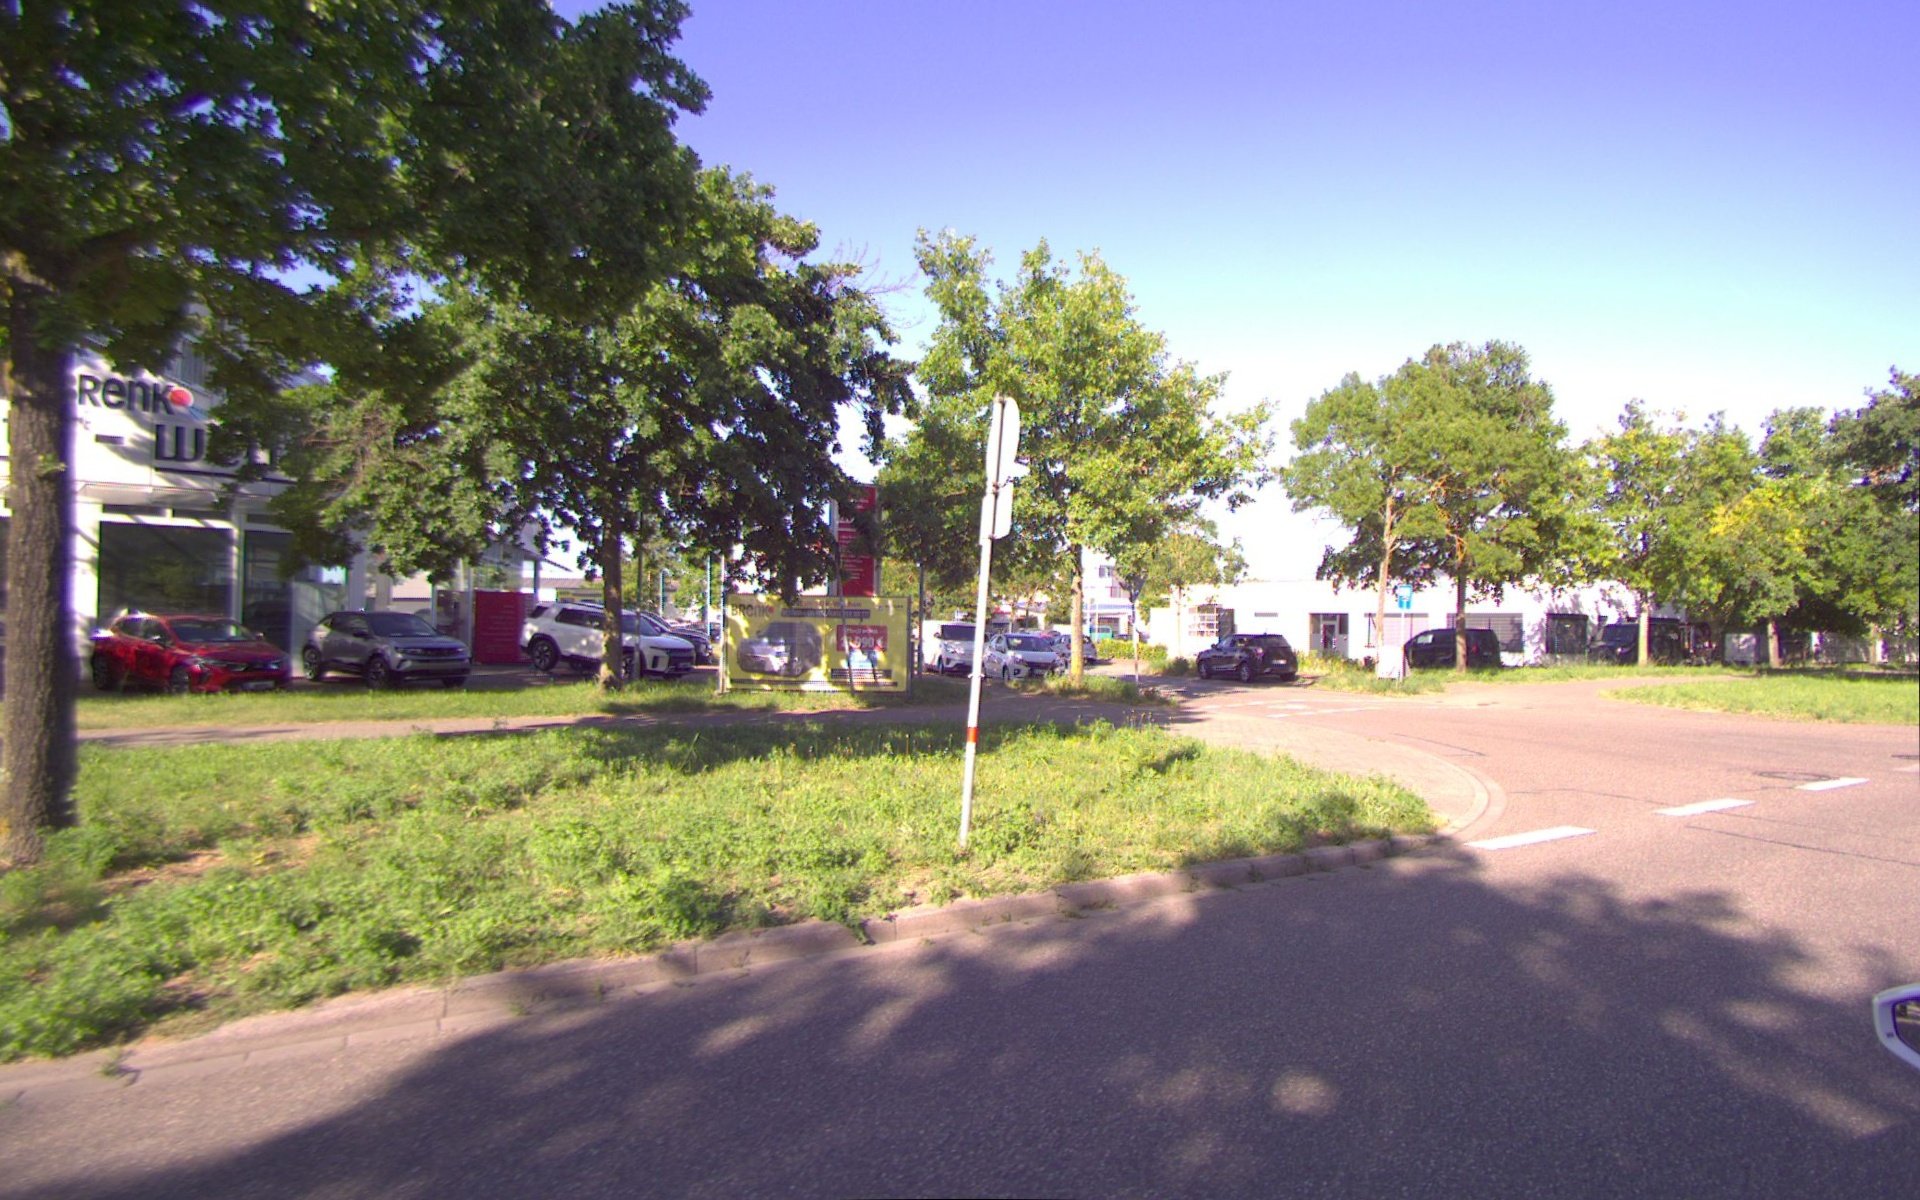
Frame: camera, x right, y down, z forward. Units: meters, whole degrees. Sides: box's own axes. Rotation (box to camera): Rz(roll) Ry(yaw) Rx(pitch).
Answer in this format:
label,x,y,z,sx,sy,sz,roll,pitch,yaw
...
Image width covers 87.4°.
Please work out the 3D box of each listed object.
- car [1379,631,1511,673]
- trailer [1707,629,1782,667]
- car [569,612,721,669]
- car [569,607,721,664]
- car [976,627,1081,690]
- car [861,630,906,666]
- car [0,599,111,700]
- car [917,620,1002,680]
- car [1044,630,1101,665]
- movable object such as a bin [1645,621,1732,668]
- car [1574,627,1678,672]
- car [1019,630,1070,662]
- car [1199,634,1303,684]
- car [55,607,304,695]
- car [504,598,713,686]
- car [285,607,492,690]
label,x,y,z,sx,sy,sz,roll,pitch,yaw
car,18.812,1.981,39.194,1.915,1.499,4.488,2,-2,-24
trailer,42.883,2.613,54.922,3.698,1.940,2.092,2,-1,-31
car,-9.231,1.189,29.514,4.106,1.591,1.992,1,-1,-19
car,-10.764,1.235,34.520,4.795,1.836,1.992,1,-1,-18
car,1.874,1.620,28.697,1.930,1.639,3.744,1,-1,-14
car,-3.711,2.266,48.011,1.769,1.531,3.993,0,-1,-10
car,-16.615,0.775,16.783,4.088,1.558,1.897,0,-1,20
car,-0.117,1.693,35.237,1.908,1.931,5.014,1,-2,-13
car,5.542,2.342,49.950,1.769,1.597,3.993,0,-1,-10
movable object such as a bin,37.008,2.245,51.012,4.410,2.246,2.092,2,-1,-31
car,31.715,2.323,47.771,5.744,2.015,2.024,2,-2,-33
car,4.507,2.448,54.196,1.769,1.531,3.993,0,-1,-10
car,9.854,1.978,34.308,1.792,1.553,3.670,1,-2,-15
car,-15.061,0.932,19.413,4.089,1.510,2.000,0,-2,22
car,-8.884,1.010,25.429,4.763,2.040,2.000,0,-1,20
car,-12.229,0.981,21.471,4.095,1.583,1.997,0,-2,30
